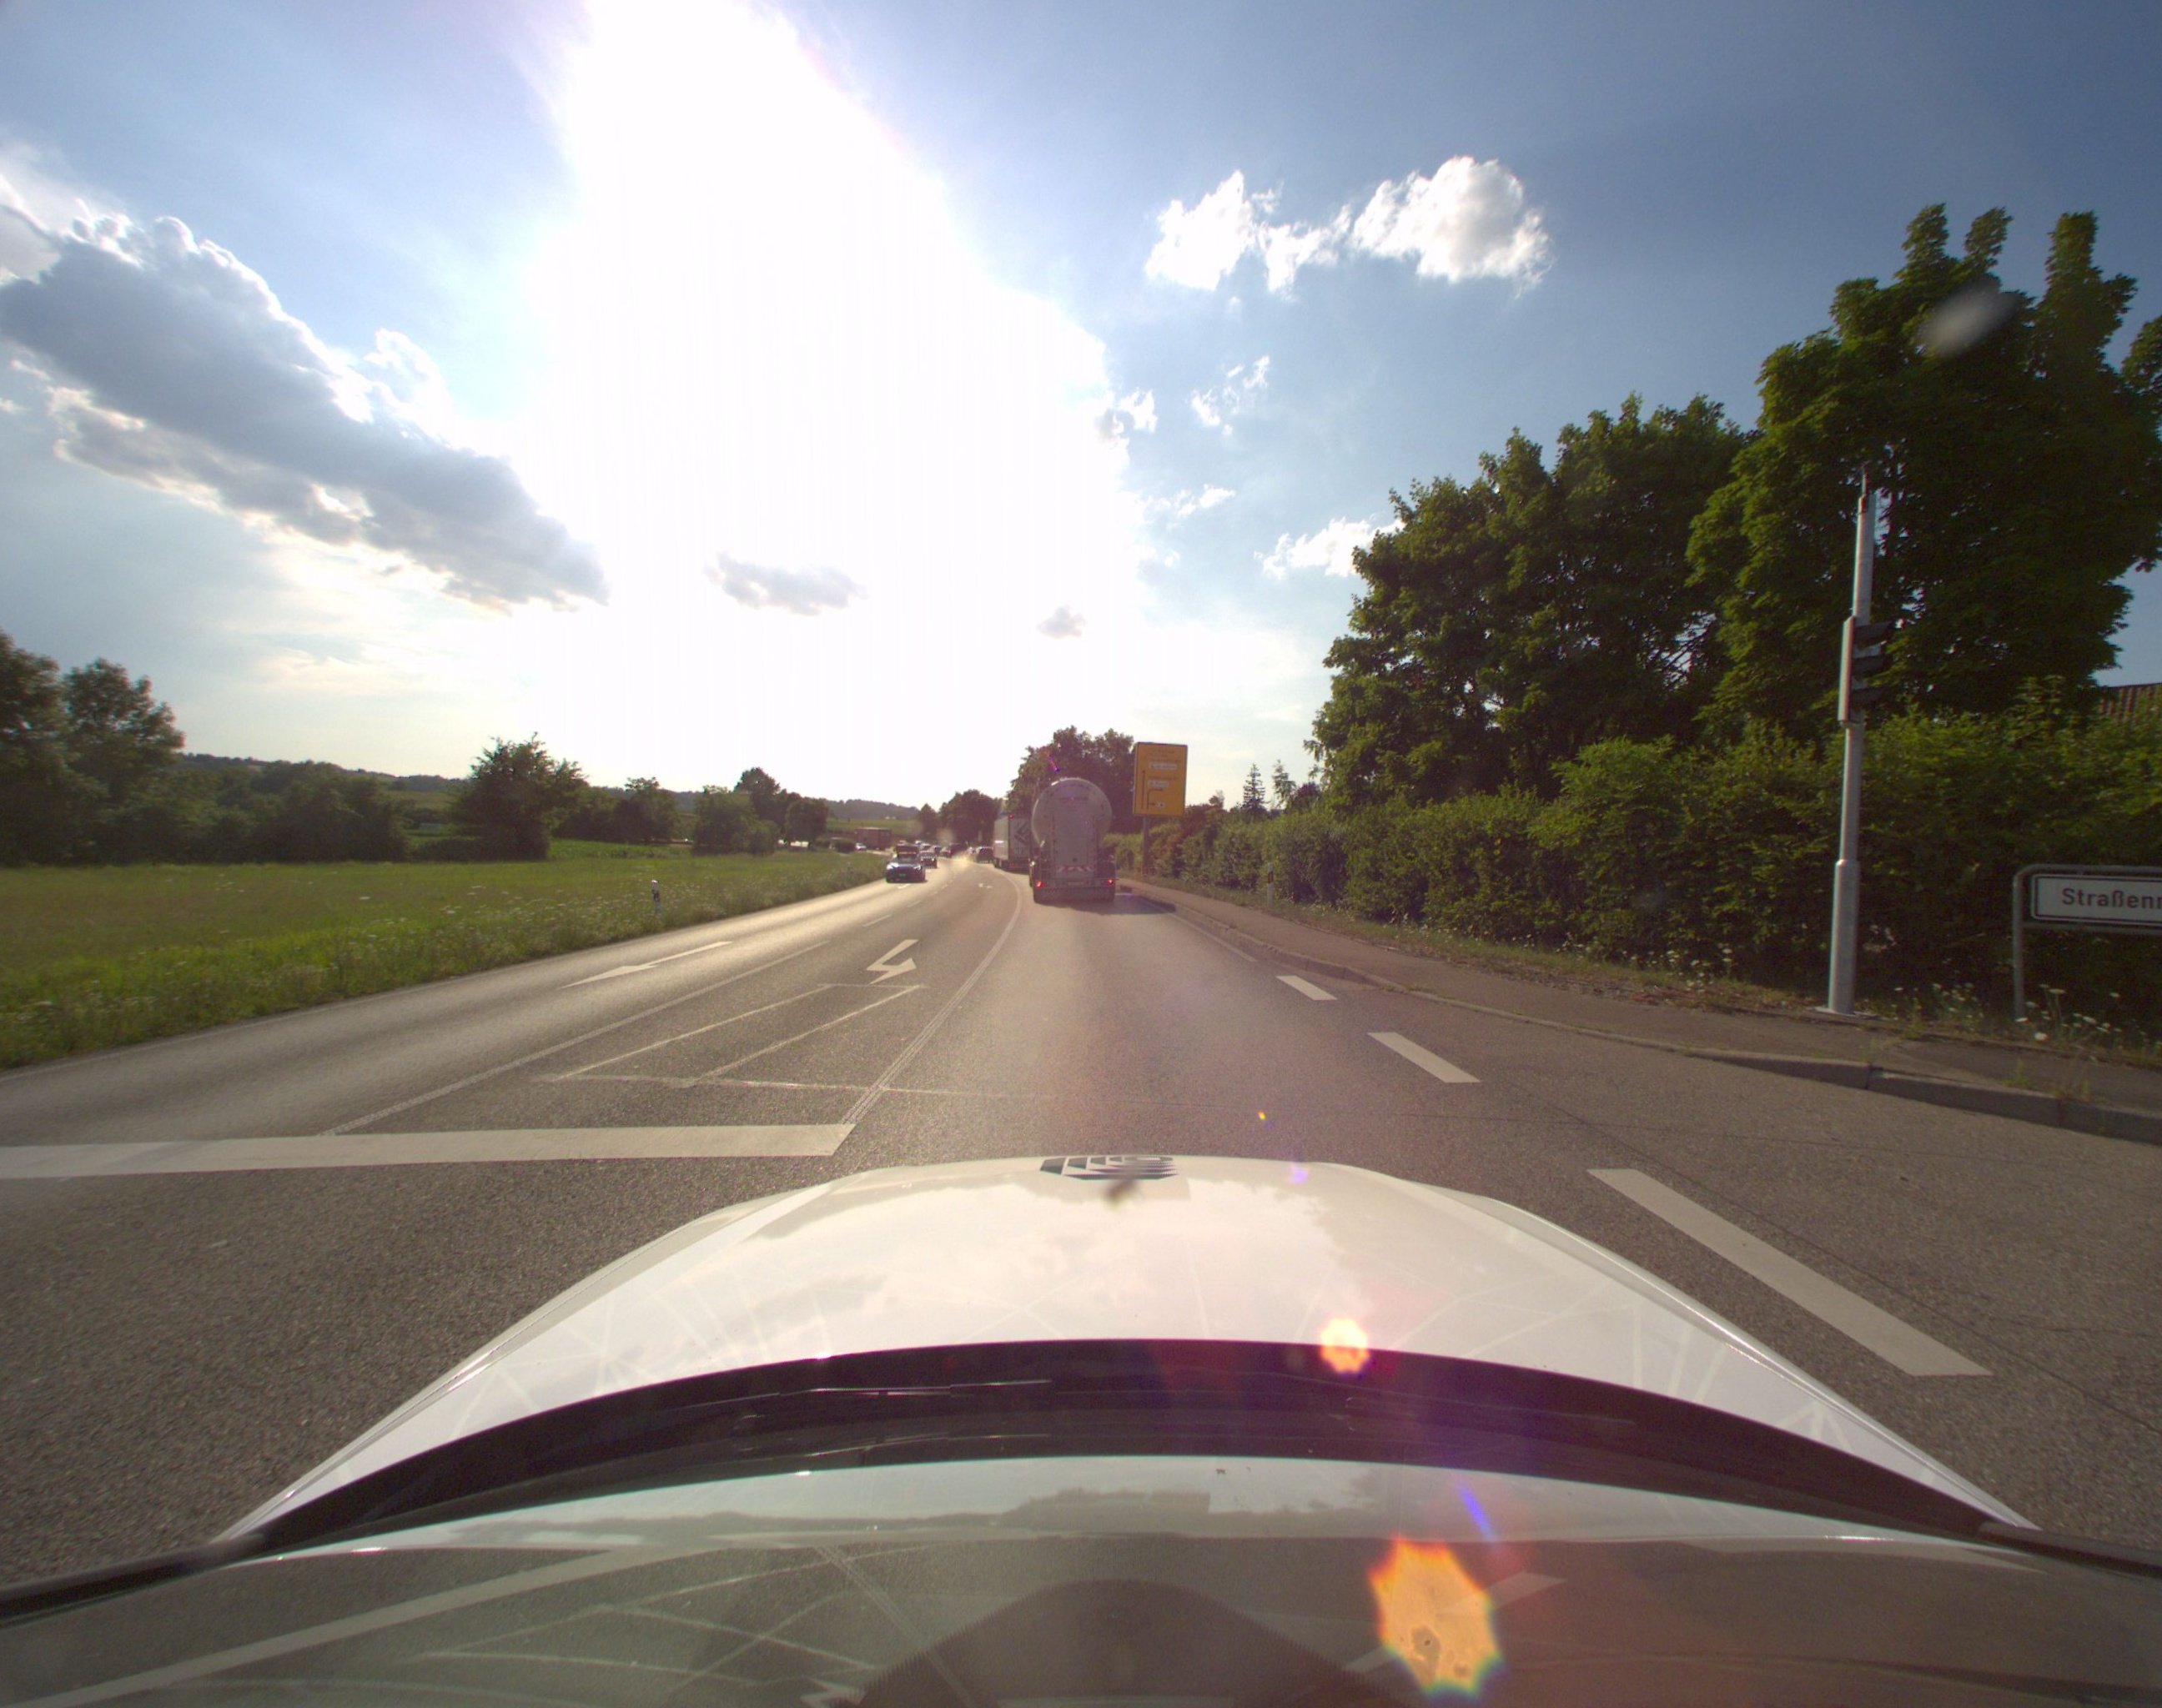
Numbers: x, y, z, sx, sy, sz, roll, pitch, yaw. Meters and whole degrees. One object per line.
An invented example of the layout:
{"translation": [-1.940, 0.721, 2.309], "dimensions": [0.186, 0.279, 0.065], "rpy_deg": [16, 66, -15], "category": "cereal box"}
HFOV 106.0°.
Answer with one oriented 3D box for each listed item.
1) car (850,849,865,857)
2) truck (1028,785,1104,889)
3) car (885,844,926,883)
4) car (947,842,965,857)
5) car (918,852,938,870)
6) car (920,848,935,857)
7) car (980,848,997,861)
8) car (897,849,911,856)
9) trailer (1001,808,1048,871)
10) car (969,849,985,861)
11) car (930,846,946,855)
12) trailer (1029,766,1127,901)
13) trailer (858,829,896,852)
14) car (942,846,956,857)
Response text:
{"translation": [-39.027, -0.167, 142.383], "dimensions": [1.716, 1.428, 4.141], "rpy_deg": [0, 0, -27], "category": "car"}
{"translation": [-0.695, -0.678, 33.544], "dimensions": [2.904, 4.006, 4.054], "rpy_deg": [-1, 0, -4], "category": "truck"}
{"translation": [-9.149, 0.477, 42.764], "dimensions": [1.723, 1.882, 4.324], "rpy_deg": [-2, 0, -7], "category": "car"}
{"translation": [-16.893, -0.638, 109.924], "dimensions": [1.866, 2.013, 3.697], "rpy_deg": [-1, 1, -17], "category": "car"}
{"translation": [-13.254, 0.556, 70.670], "dimensions": [1.585, 1.466, 3.595], "rpy_deg": [-2, 0, -9], "category": "car"}
{"translation": [-24.487, -0.236, 129.747], "dimensions": [1.587, 1.340, 3.398], "rpy_deg": [1, 0, -24], "category": "car"}
{"translation": [-10.004, -0.003, 87.755], "dimensions": [1.580, 1.340, 3.414], "rpy_deg": [1, 0, -10], "category": "car"}
{"translation": [-31.161, -0.307, 143.385], "dimensions": [1.777, 1.205, 3.398], "rpy_deg": [1, 0, -24], "category": "car"}
{"translation": [-4.601, -1.066, 63.404], "dimensions": [2.952, 4.315, 14.143], "rpy_deg": [1, 0, -6], "category": "trailer"}
{"translation": [-12.284, 0.113, 95.971], "dimensions": [1.581, 1.340, 3.411], "rpy_deg": [1, 0, -12], "category": "car"}
{"translation": [-21.691, -0.532, 123.766], "dimensions": [1.587, 1.340, 3.398], "rpy_deg": [1, 0, -24], "category": "car"}
{"translation": [-0.402, -0.658, 29.308], "dimensions": [2.904, 4.006, 9.916], "rpy_deg": [-1, 0, -4], "category": "trailer"}
{"translation": [-40.157, -2.646, 159.664], "dimensions": [3.396, 4.350, 14.157], "rpy_deg": [1, 0, -30], "category": "trailer"}
{"translation": [-18.964, -0.392, 117.303], "dimensions": [1.419, 1.432, 3.125], "rpy_deg": [-1, -1, -20], "category": "car"}
